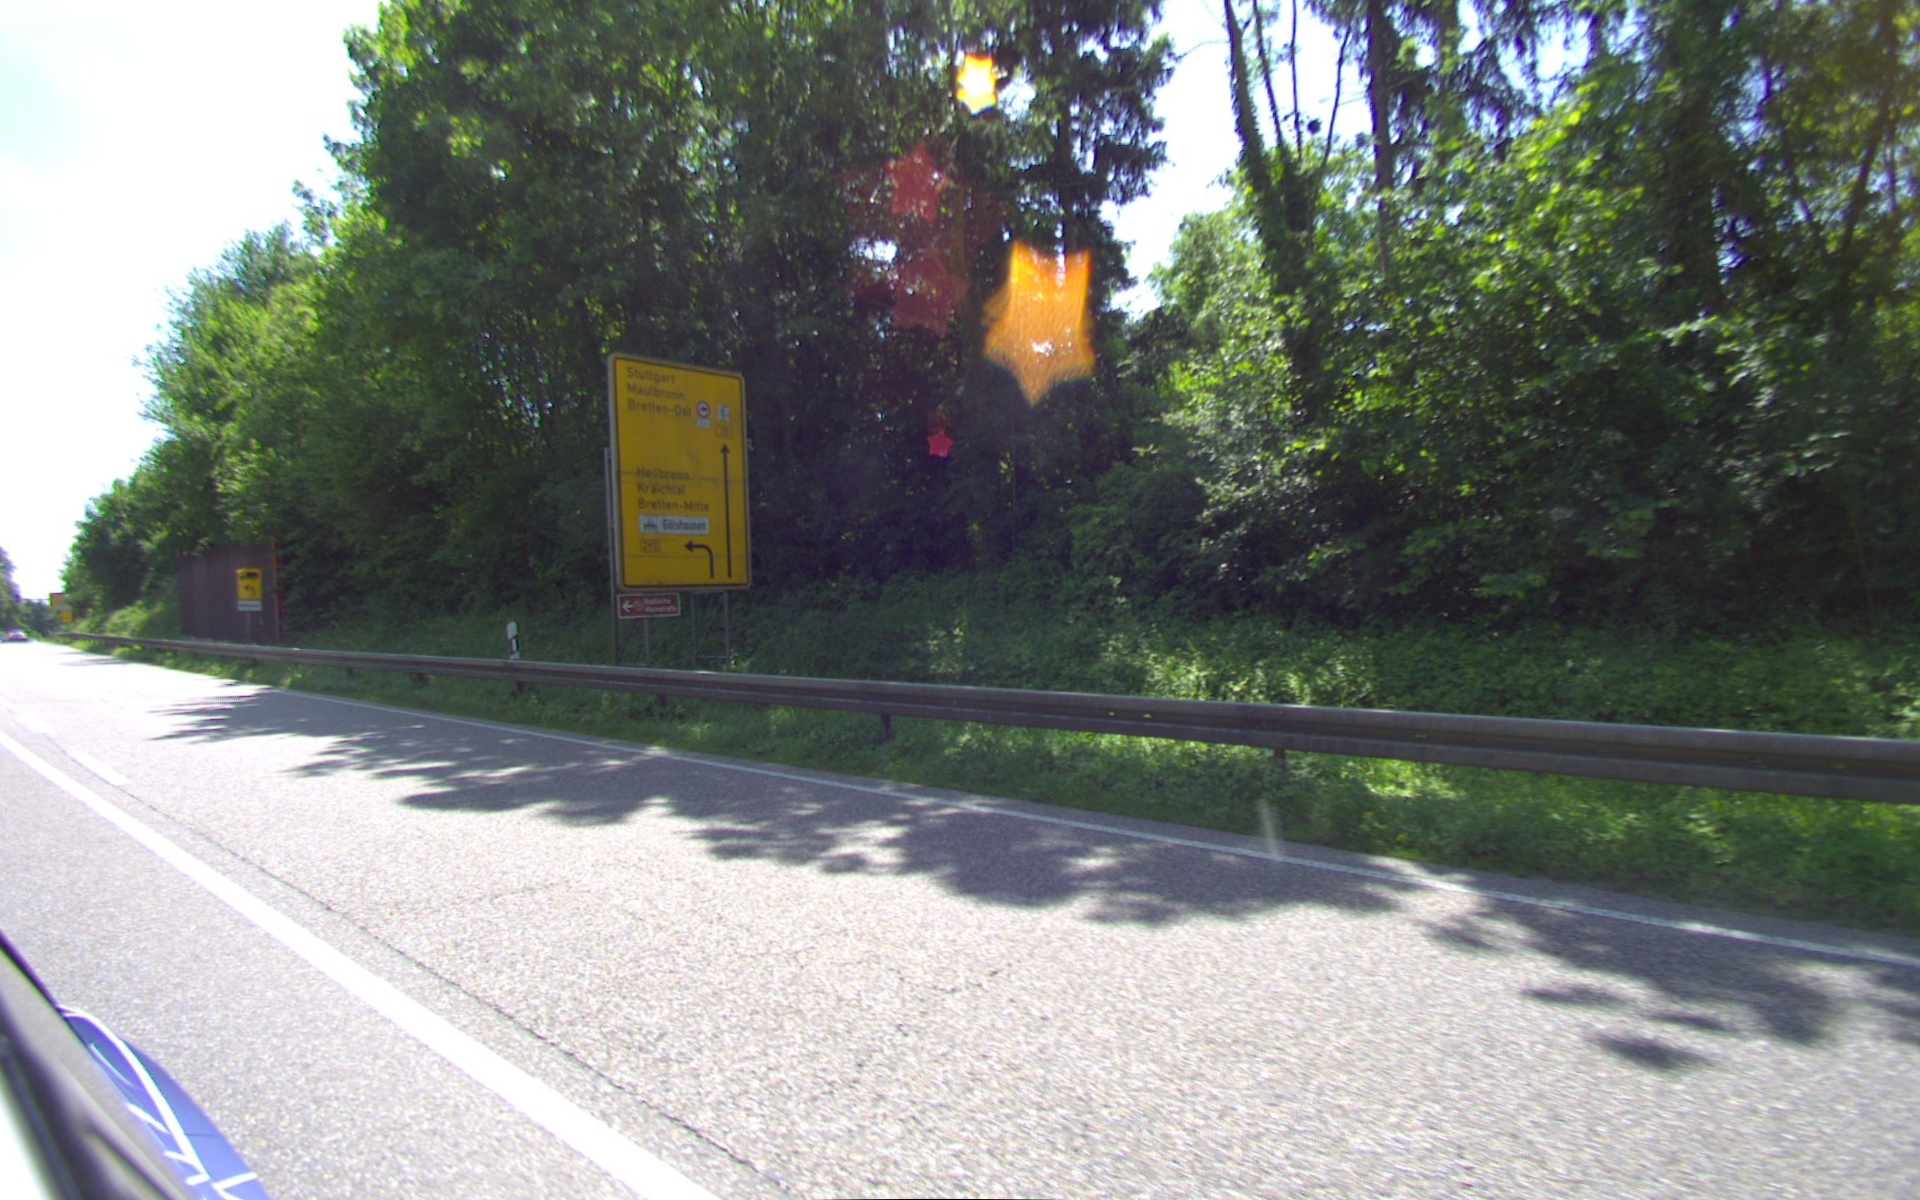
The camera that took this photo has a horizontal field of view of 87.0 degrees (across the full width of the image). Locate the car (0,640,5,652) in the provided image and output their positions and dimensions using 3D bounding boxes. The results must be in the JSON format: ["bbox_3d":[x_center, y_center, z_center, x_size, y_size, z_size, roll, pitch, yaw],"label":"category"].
[{"bbox_3d":[-172.743,8.315,181.447,1.969,2.029,4.007,-3,0,-39],"label":"car"}]

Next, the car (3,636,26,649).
[{"bbox_3d":[-109.876,4.887,117.608,1.785,1.446,3.873,1,-2,-45],"label":"car"}]
